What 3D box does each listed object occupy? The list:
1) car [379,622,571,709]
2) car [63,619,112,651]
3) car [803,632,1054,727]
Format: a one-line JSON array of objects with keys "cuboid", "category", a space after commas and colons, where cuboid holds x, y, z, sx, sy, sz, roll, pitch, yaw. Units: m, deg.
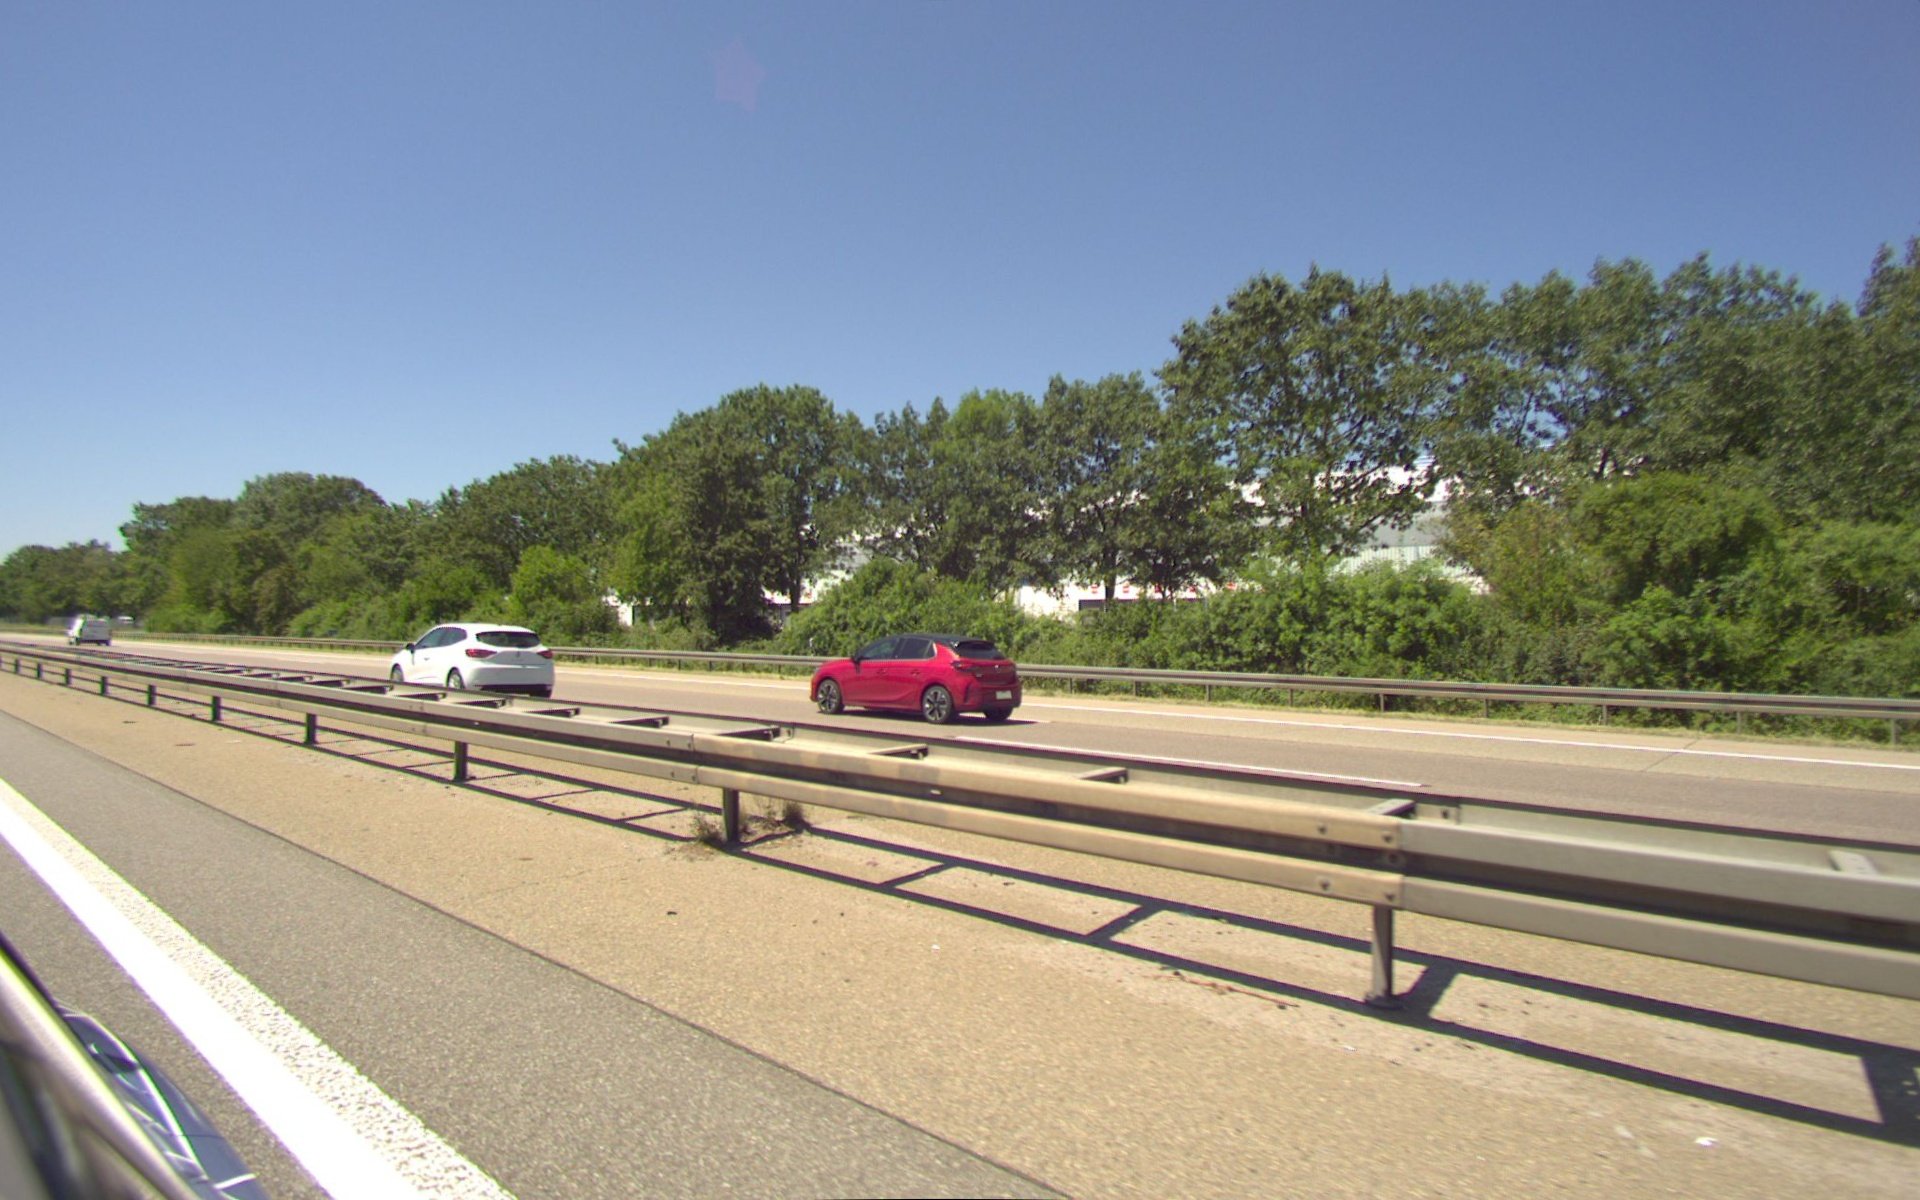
[{"cuboid": [-9.024, 1.154, 18.720, 3.894, 1.433, 1.701, -1, -3, 40], "category": "car"}, {"cuboid": [-57.484, 2.283, 66.666, 4.378, 2.029, 1.769, -1, -4, 42], "category": "car"}, {"cuboid": [-0.613, 1.279, 17.127, 4.106, 1.428, 1.755, -2, -4, 39], "category": "car"}]
